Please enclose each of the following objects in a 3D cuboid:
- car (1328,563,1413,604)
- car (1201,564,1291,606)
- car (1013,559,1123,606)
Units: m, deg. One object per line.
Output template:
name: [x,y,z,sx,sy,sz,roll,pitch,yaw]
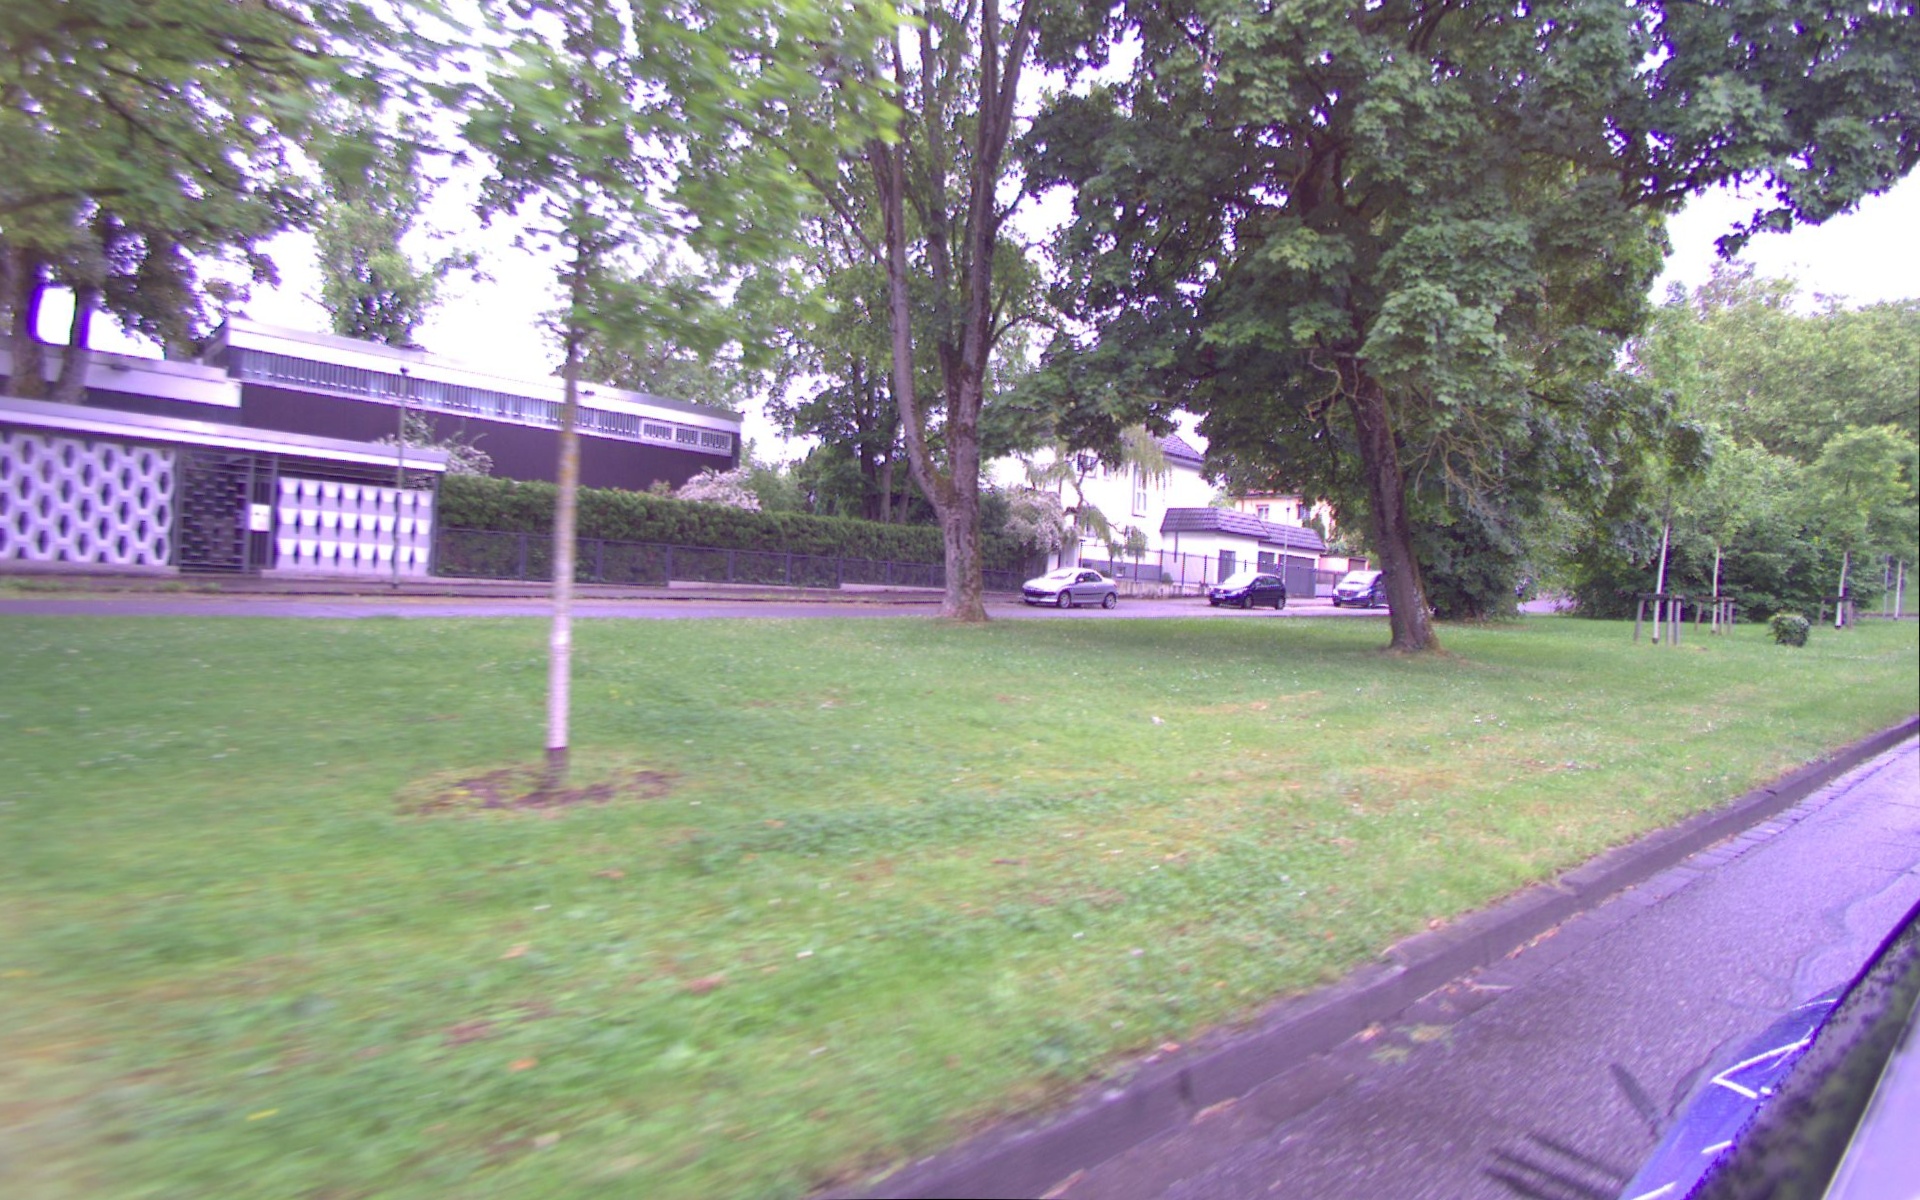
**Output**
car: [20.965,-0.864,51.594,4.986,1.901,2.162,-1,4,-44]
car: [12.166,-0.665,42.916,3.968,1.644,1.904,-1,4,-44]
car: [3.707,-0.603,34.458,3.648,1.392,1.684,0,5,-44]
